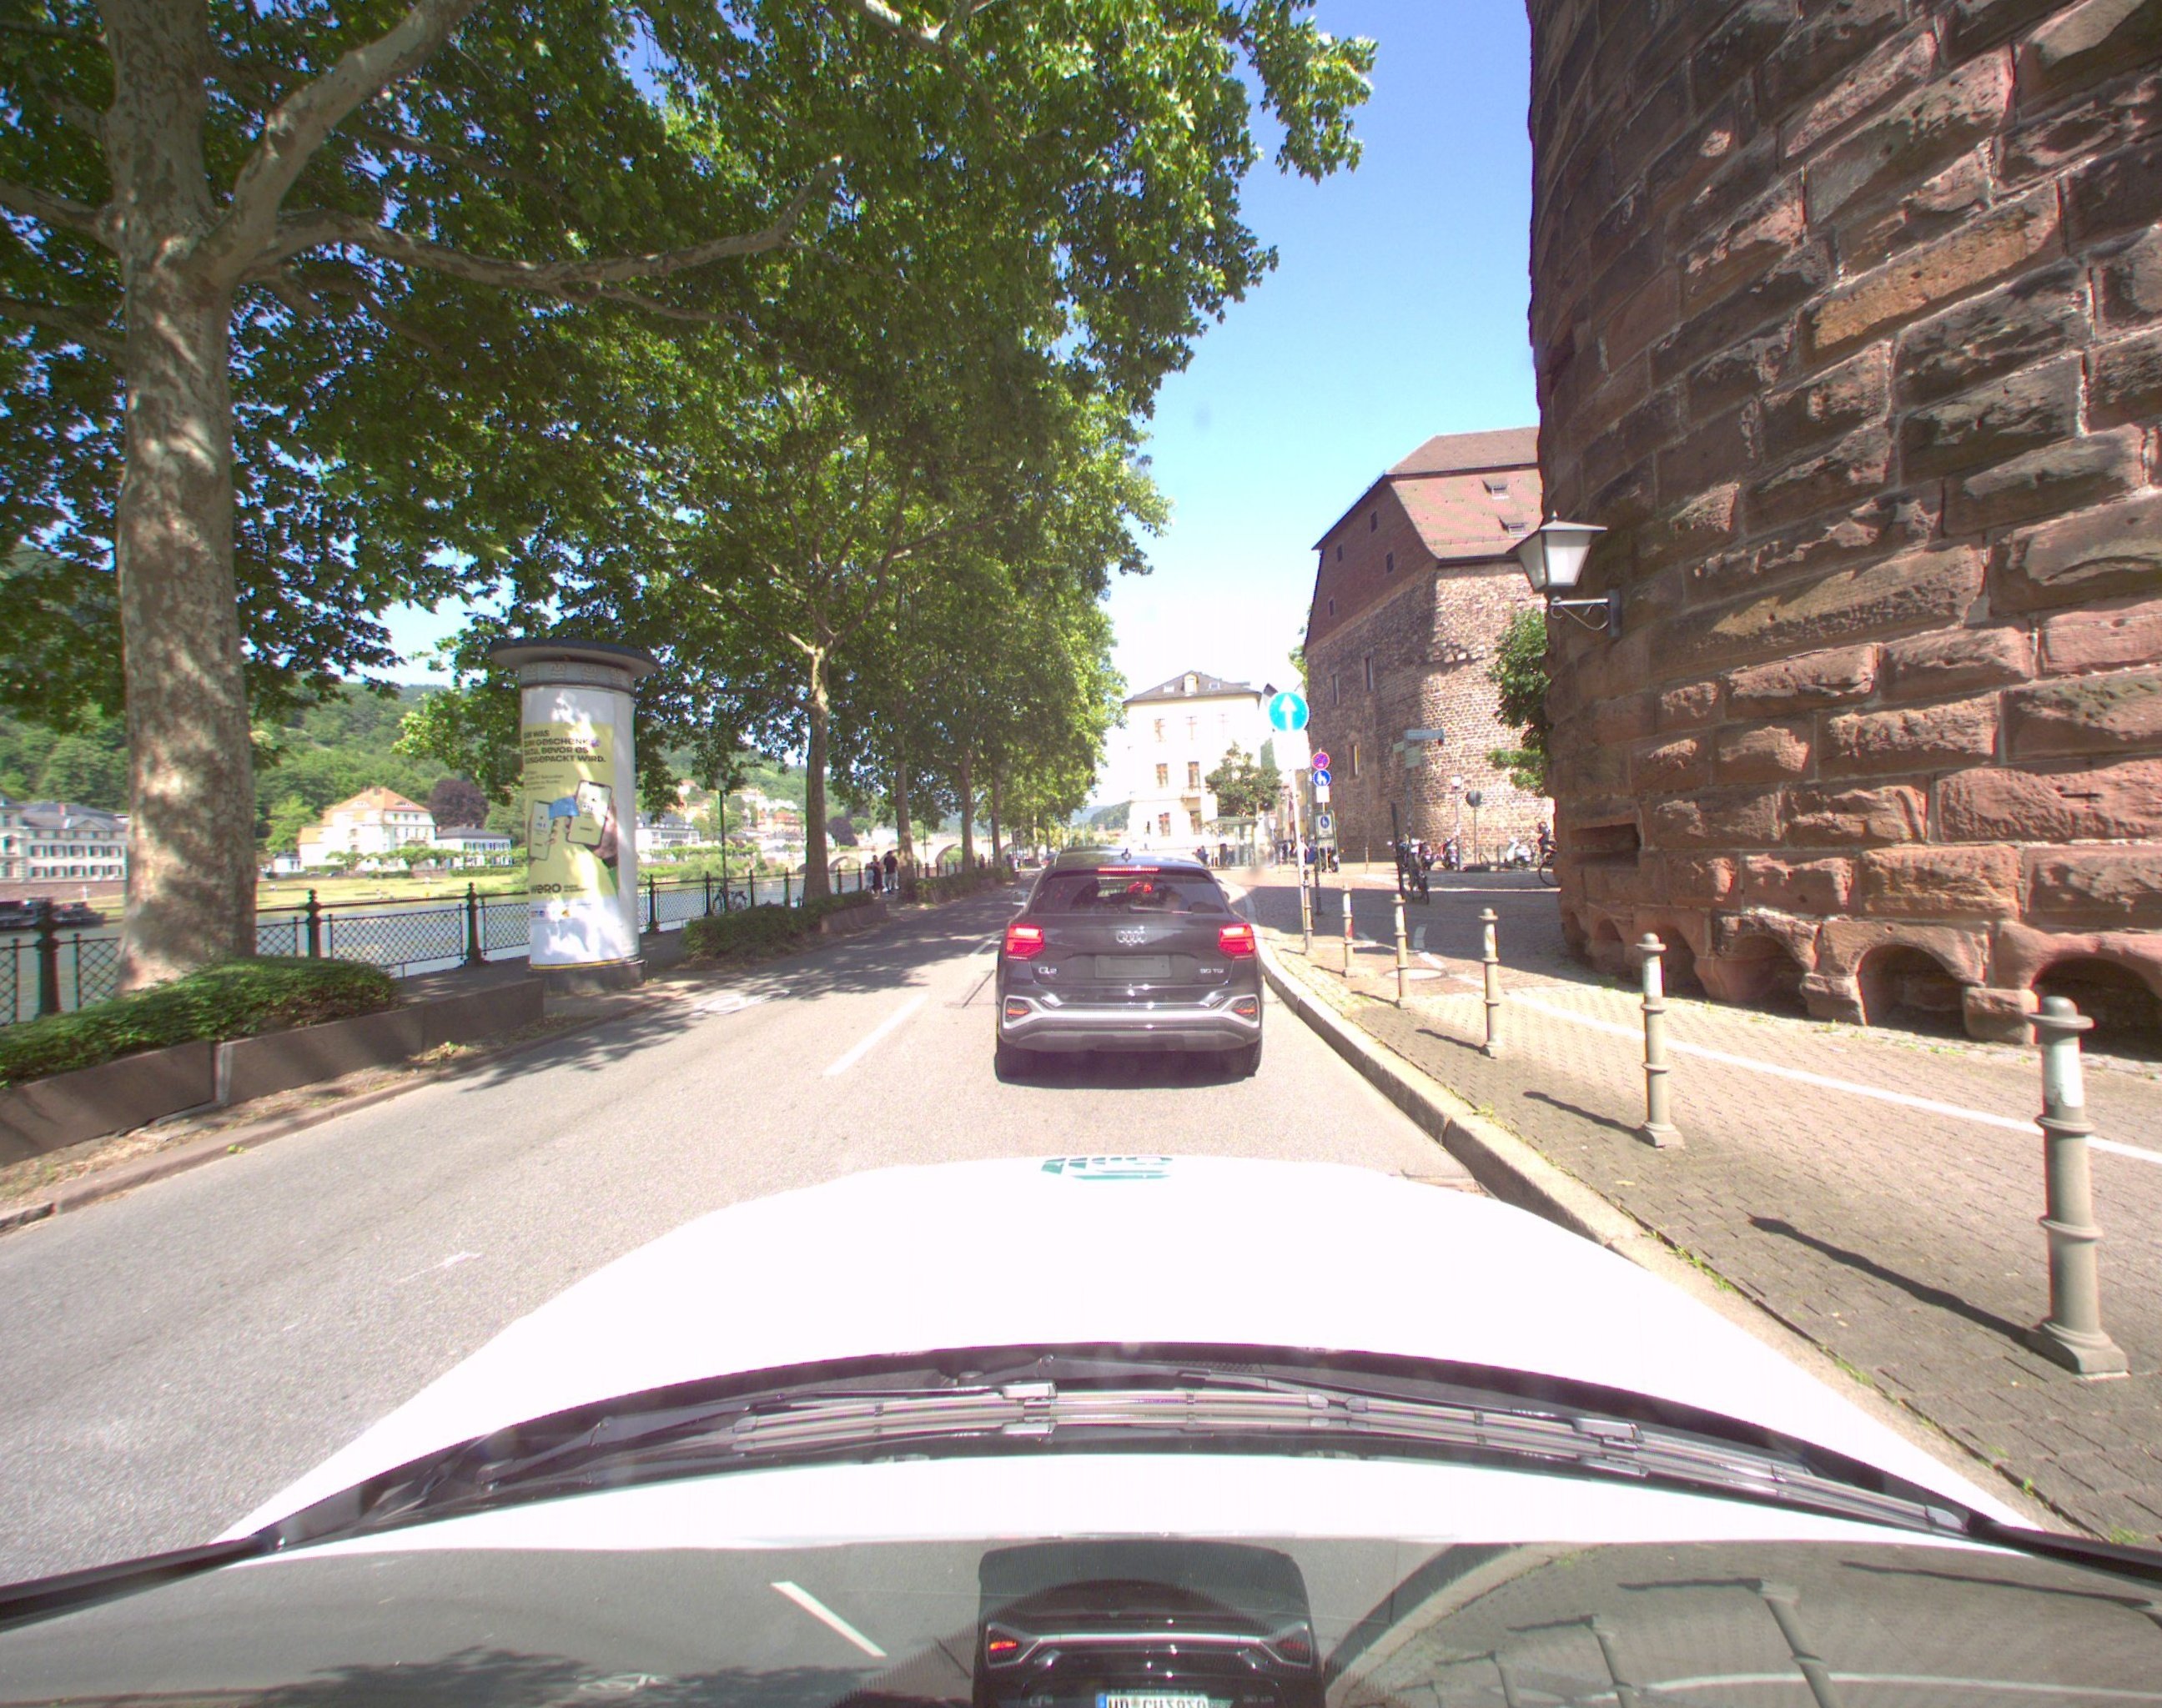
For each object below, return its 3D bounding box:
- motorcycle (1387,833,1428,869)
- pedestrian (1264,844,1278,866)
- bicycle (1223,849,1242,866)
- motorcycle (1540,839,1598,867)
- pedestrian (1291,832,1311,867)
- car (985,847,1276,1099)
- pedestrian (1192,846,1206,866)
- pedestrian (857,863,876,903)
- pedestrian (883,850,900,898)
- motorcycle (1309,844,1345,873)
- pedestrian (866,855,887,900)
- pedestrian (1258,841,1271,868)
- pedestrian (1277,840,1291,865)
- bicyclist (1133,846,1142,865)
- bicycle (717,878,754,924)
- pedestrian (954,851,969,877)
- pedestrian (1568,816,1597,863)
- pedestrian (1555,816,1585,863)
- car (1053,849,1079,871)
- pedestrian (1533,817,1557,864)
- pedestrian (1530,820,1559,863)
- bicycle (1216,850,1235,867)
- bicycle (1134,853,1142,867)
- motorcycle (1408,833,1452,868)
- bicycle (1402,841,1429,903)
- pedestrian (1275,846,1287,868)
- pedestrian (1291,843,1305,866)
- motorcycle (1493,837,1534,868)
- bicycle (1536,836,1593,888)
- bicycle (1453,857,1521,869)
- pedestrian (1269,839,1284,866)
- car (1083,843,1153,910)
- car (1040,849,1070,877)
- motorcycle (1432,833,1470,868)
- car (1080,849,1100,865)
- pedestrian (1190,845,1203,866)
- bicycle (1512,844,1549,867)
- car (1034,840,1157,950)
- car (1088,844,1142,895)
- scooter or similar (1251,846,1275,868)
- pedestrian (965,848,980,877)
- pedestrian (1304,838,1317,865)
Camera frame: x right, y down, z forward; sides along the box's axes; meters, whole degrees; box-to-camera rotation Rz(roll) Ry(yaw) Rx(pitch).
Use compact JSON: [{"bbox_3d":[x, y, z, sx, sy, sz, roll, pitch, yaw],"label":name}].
[{"bbox_3d":[11.960,-0.087,29.903,0.653,1.266,2.201,-2,-1,2],"label":"motorcycle"},{"bbox_3d":[12.844,0.068,55.082,0.637,1.444,0.797,-3,0,-5],"label":"pedestrian"},{"bbox_3d":[9.096,0.228,48.954,1.205,1.035,0.178,0,-1,-17],"label":"bicycle"},{"bbox_3d":[18.424,-0.036,30.766,1.854,1.054,0.481,-1,-1,9],"label":"motorcycle"},{"bbox_3d":[10.796,-0.219,39.938,0.800,1.662,0.660,-3,0,24],"label":"pedestrian"},{"bbox_3d":[0.352,0.701,6.711,1.736,1.509,3.649,0,0,2],"label":"car"},{"bbox_3d":[6.964,0.116,48.155,0.662,1.211,0.640,0,-1,-5],"label":"pedestrian"},{"bbox_3d":[-7.587,1.017,28.810,0.476,1.362,0.418,-2,0,5],"label":"pedestrian"},{"bbox_3d":[-7.528,0.773,32.322,0.532,1.887,0.437,-1,0,1],"label":"pedestrian"},{"bbox_3d":[9.059,0.156,30.083,0.564,1.012,2.490,-2,0,1],"label":"motorcycle"},{"bbox_3d":[-7.903,0.893,31.474,0.599,1.685,0.583,-2,0,0],"label":"pedestrian"},{"bbox_3d":[9.578,0.008,42.440,0.555,1.385,0.588,0,-1,4],"label":"pedestrian"},{"bbox_3d":[16.495,-0.081,66.161,0.937,2.014,0.807,0,-1,1],"label":"pedestrian"},{"bbox_3d":[4.367,0.109,62.649,0.604,1.450,0.590,0,-1,-3],"label":"bicyclist"},{"bbox_3d":[-8.887,1.190,20.976,0.358,1.091,1.296,1,0,1],"label":"bicycle"},{"bbox_3d":[-8.206,0.700,55.826,0.906,1.811,0.586,-1,-2,6],"label":"pedestrian"},{"bbox_3d":[20.956,-0.583,34.037,0.673,1.920,0.812,0,-1,-35],"label":"pedestrian"},{"bbox_3d":[20.201,-0.585,33.621,0.672,1.884,0.813,0,-1,-28],"label":"pedestrian"},{"bbox_3d":[-1.263,0.498,68.272,1.761,1.660,4.003,-5,0,3],"label":"car"},{"bbox_3d":[20.454,-0.591,35.925,0.867,2.014,0.737,-1,-1,29],"label":"pedestrian"},{"bbox_3d":[19.938,-0.533,35.011,0.656,1.802,0.839,-1,0,-30],"label":"pedestrian"},{"bbox_3d":[8.822,0.260,49.572,1.187,1.016,0.178,0,-1,-17],"label":"bicycle"},{"bbox_3d":[4.352,0.459,62.679,0.436,1.086,1.675,0,-1,-2],"label":"bicycle"},{"bbox_3d":[12.761,-0.127,29.883,0.672,1.235,2.313,0,-1,2],"label":"motorcycle"},{"bbox_3d":[6.872,0.330,16.759,0.192,1.203,1.775,-2,1,13],"label":"bicycle"},{"bbox_3d":[18.137,0.296,73.936,0.941,2.014,0.808,0,-1,2],"label":"pedestrian"},{"bbox_3d":[15.865,0.021,59.525,0.684,1.612,0.896,-4,0,25],"label":"pedestrian"},{"bbox_3d":[15.476,-0.046,29.174,0.505,1.073,1.841,0,-1,2],"label":"motorcycle"},{"bbox_3d":[11.550,0.177,19.497,0.444,1.162,1.733,-2,0,5],"label":"bicycle"},{"bbox_3d":[13.623,0.302,27.376,1.914,0.381,0.921,-2,-1,16],"label":"bicycle"},{"bbox_3d":[14.145,-0.087,58.999,0.740,1.890,0.757,-4,0,30],"label":"pedestrian"},{"bbox_3d":[0.967,0.557,21.863,1.704,1.609,3.656,-1,0,2],"label":"car"},{"bbox_3d":[-1.713,0.579,54.948,1.667,1.660,4.224,-5,0,1],"label":"car"},{"bbox_3d":[13.642,-0.112,30.076,0.544,1.235,2.031,0,-1,2],"label":"motorcycle"},{"bbox_3d":[1.060,0.342,90.659,1.985,1.806,4.003,0,-1,3],"label":"car"},{"bbox_3d":[6.918,0.097,48.892,0.662,1.231,0.640,0,-1,-5],"label":"pedestrian"},{"bbox_3d":[16.630,0.056,30.159,0.352,0.820,1.926,0,1,1],"label":"bicycle"},{"bbox_3d":[0.260,0.596,13.593,1.786,1.595,3.400,0,0,2],"label":"car"},{"bbox_3d":[1.216,0.507,29.230,1.788,1.682,4.002,-1,0,2],"label":"car"},{"bbox_3d":[8.784,0.154,39.374,1.085,1.066,0.323,0,-1,-1],"label":"scooter or similar"},{"bbox_3d":[-7.656,0.576,57.437,0.906,2.014,0.587,-1,-1,6],"label":"pedestrian"},{"bbox_3d":[17.775,-0.191,63.147,0.836,2.014,0.738,0,-1,2],"label":"pedestrian"}]
